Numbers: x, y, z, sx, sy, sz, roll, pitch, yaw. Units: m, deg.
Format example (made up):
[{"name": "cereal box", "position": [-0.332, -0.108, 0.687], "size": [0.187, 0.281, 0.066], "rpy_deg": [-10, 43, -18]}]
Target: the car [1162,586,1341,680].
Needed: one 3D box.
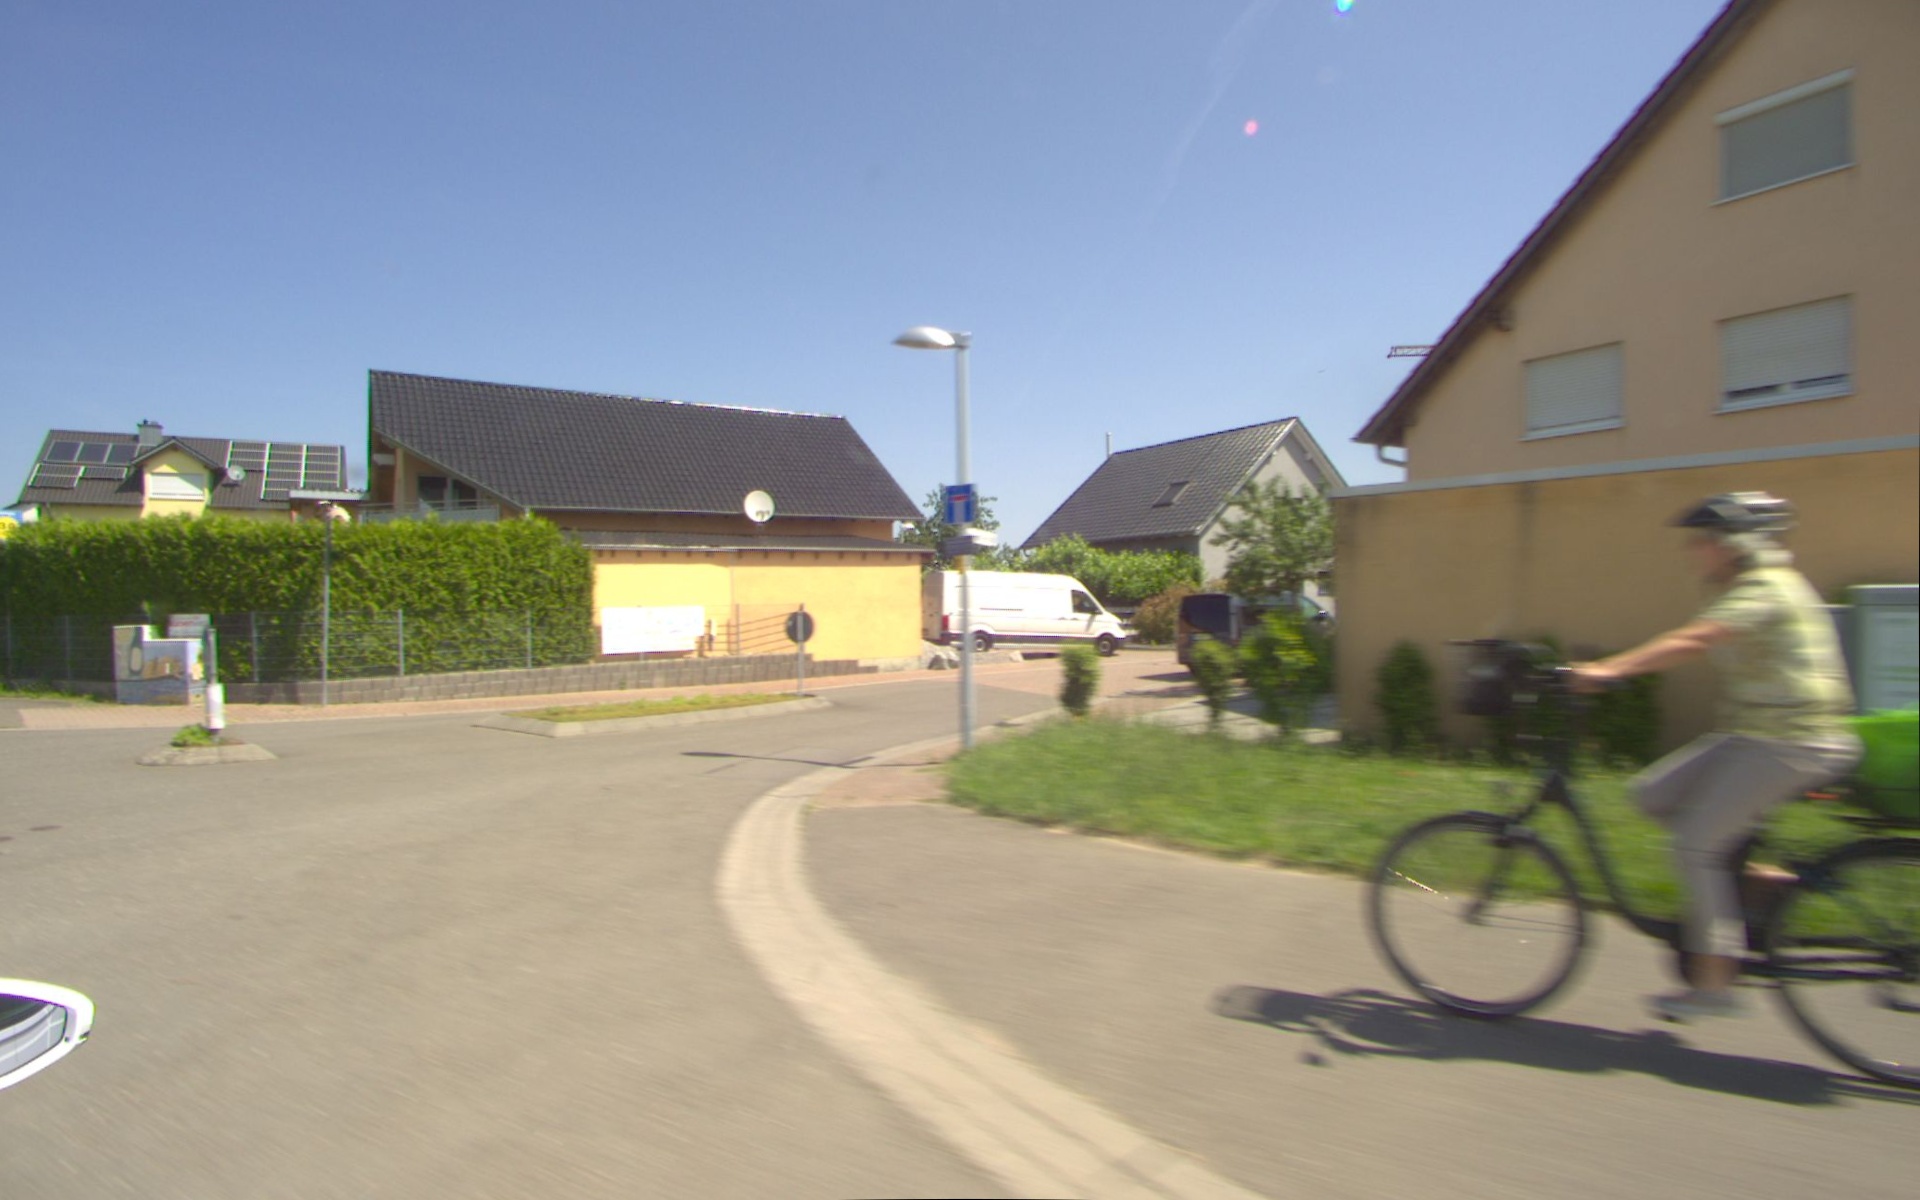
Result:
[{"name": "car", "position": [7.132, 0.753, 24.299], "size": [4.441, 2.040, 1.984], "rpy_deg": [-2, -1, -39]}]

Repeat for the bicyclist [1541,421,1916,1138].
[{"name": "bicyclist", "position": [2.353, 0.487, 3.176], "size": [0.848, 1.914, 0.644], "rpy_deg": [1, 0, 32]}]

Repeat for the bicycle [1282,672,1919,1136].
[{"name": "bicycle", "position": [2.256, 0.861, 3.240], "size": [2.241, 1.173, 0.609], "rpy_deg": [-1, -1, 32]}]

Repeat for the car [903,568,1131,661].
[{"name": "car", "position": [1.808, 0.387, 31.296], "size": [6.762, 2.664, 2.451], "rpy_deg": [0, 2, -24]}]
